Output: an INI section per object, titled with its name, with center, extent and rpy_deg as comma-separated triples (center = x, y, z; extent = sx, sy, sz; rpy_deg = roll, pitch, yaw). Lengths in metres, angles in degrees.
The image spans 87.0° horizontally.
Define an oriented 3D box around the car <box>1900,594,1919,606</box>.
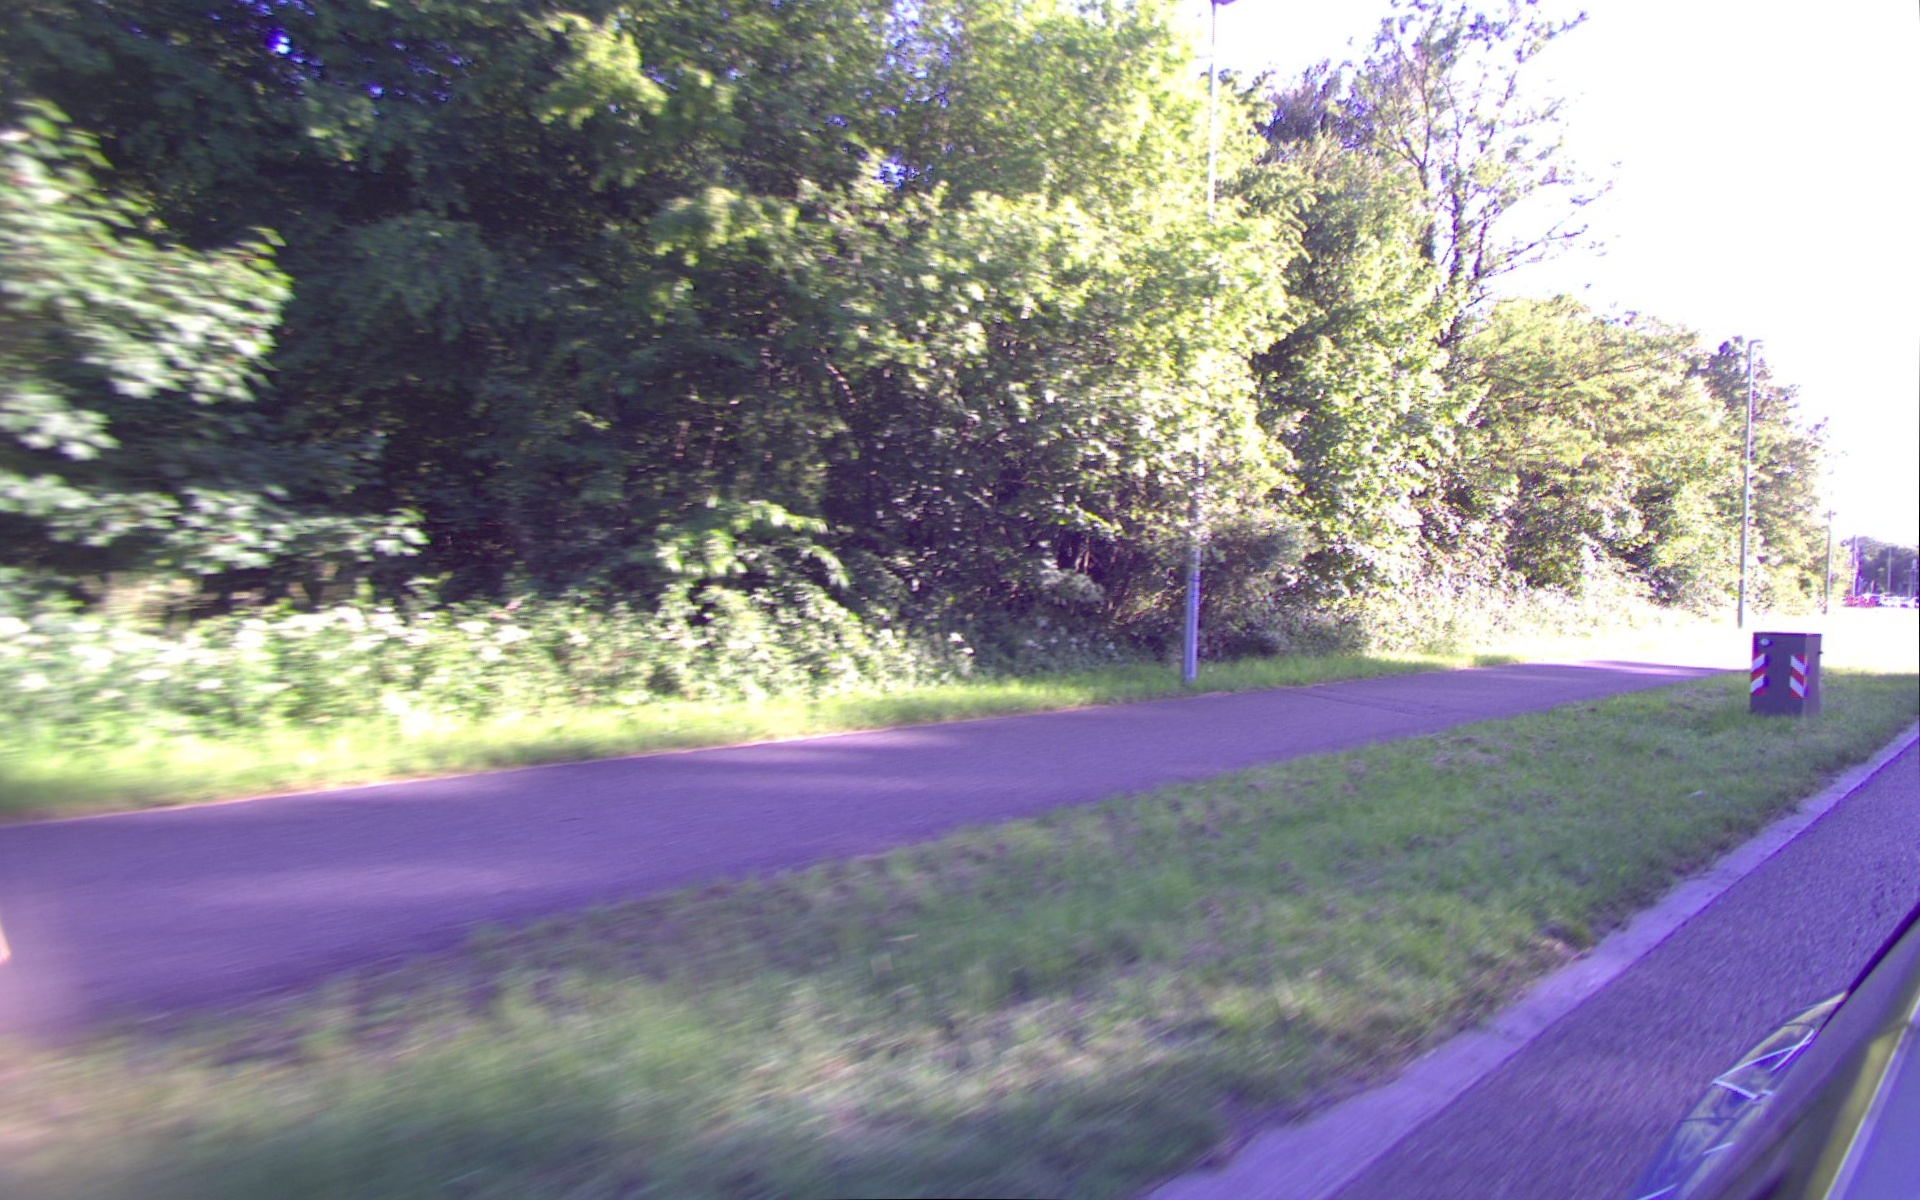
[car]
center = 130.659, -0.010, 138.959
extent = 1.990, 1.537, 3.946
rpy_deg = 1, 2, 38
